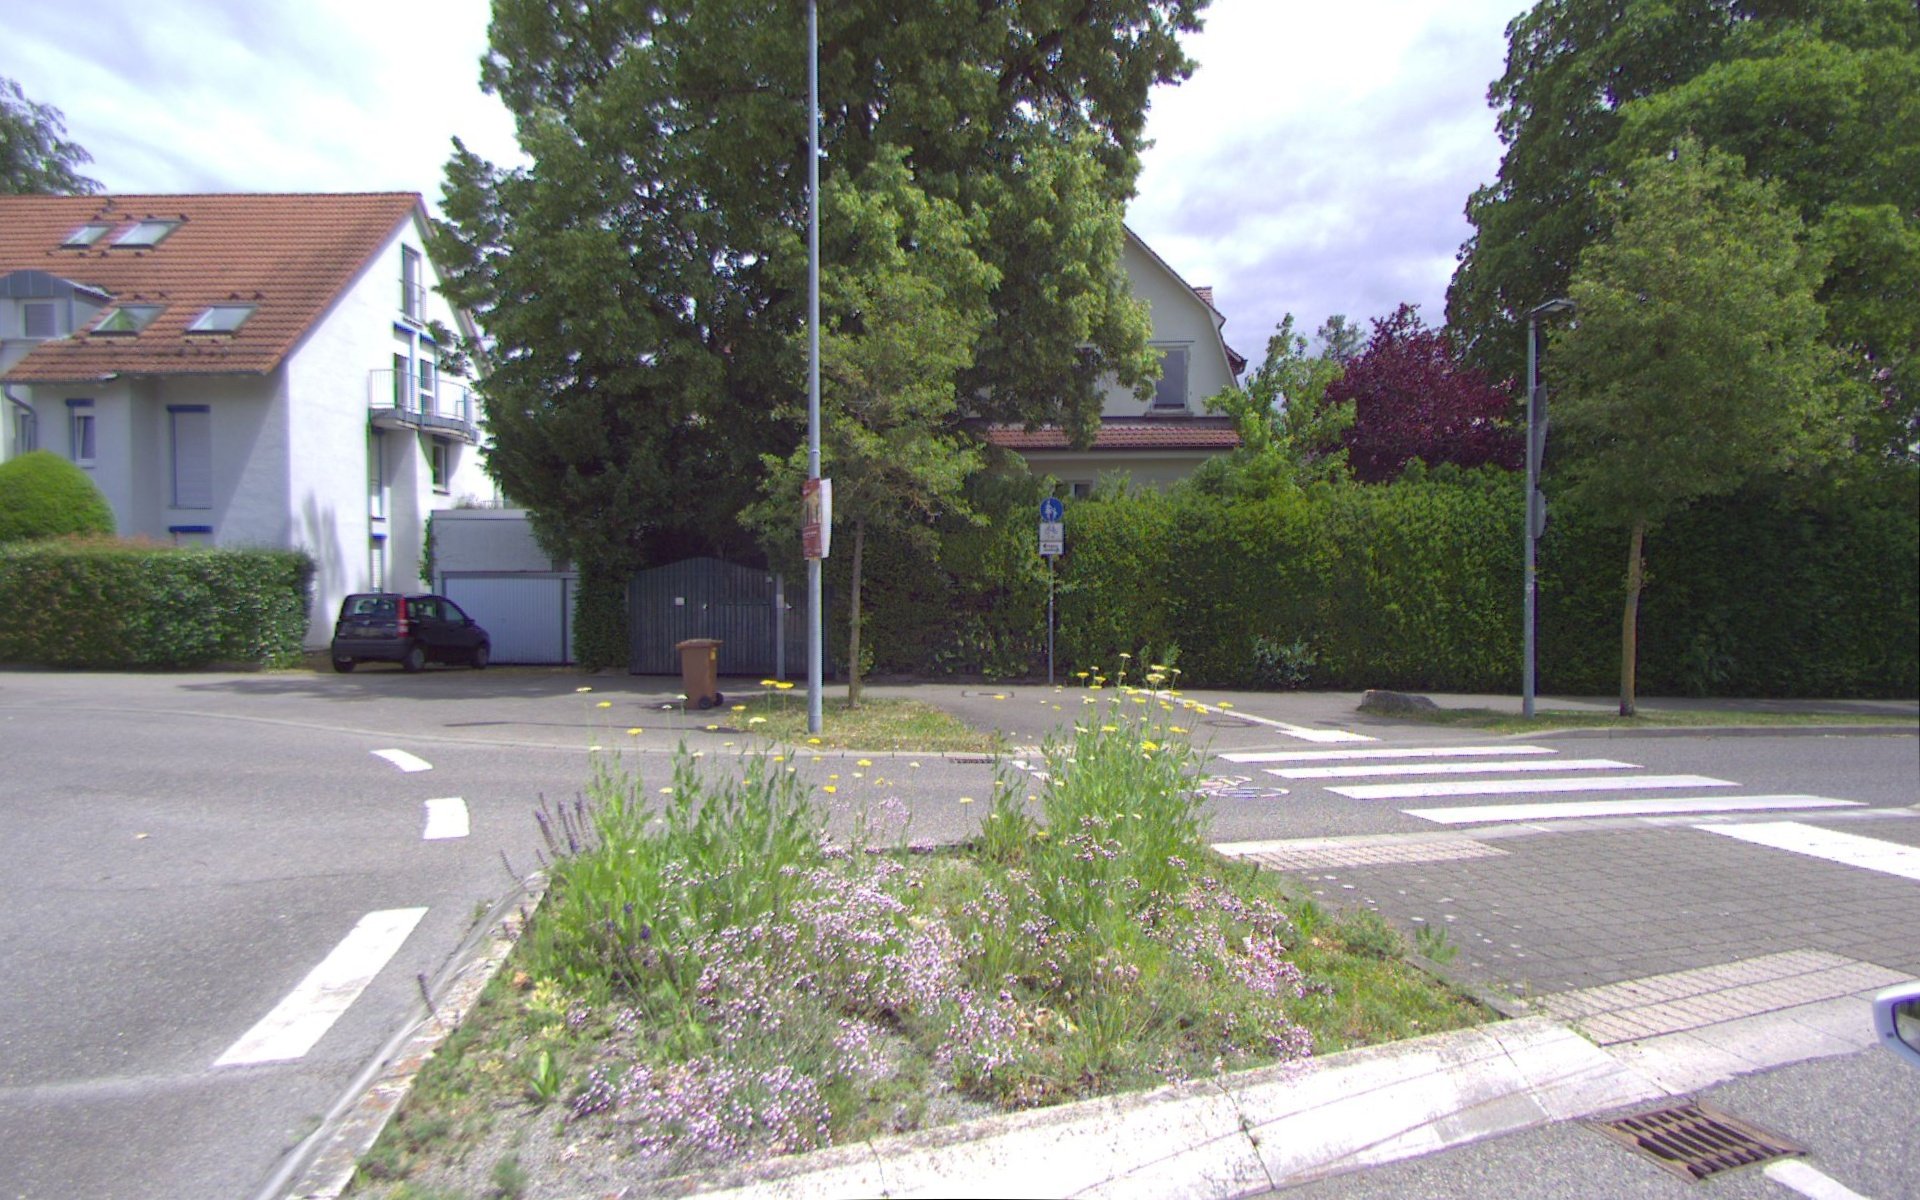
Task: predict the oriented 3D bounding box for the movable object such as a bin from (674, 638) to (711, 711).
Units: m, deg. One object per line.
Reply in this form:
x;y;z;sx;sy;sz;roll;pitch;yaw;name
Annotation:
-3.621;0.998;13.572;0.406;0.947;0.438;1;0;-25;movable object such as a bin

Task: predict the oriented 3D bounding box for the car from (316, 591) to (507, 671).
-10.749;0.637;19.998;1.632;1.415;3.581;1;-2;3;car
